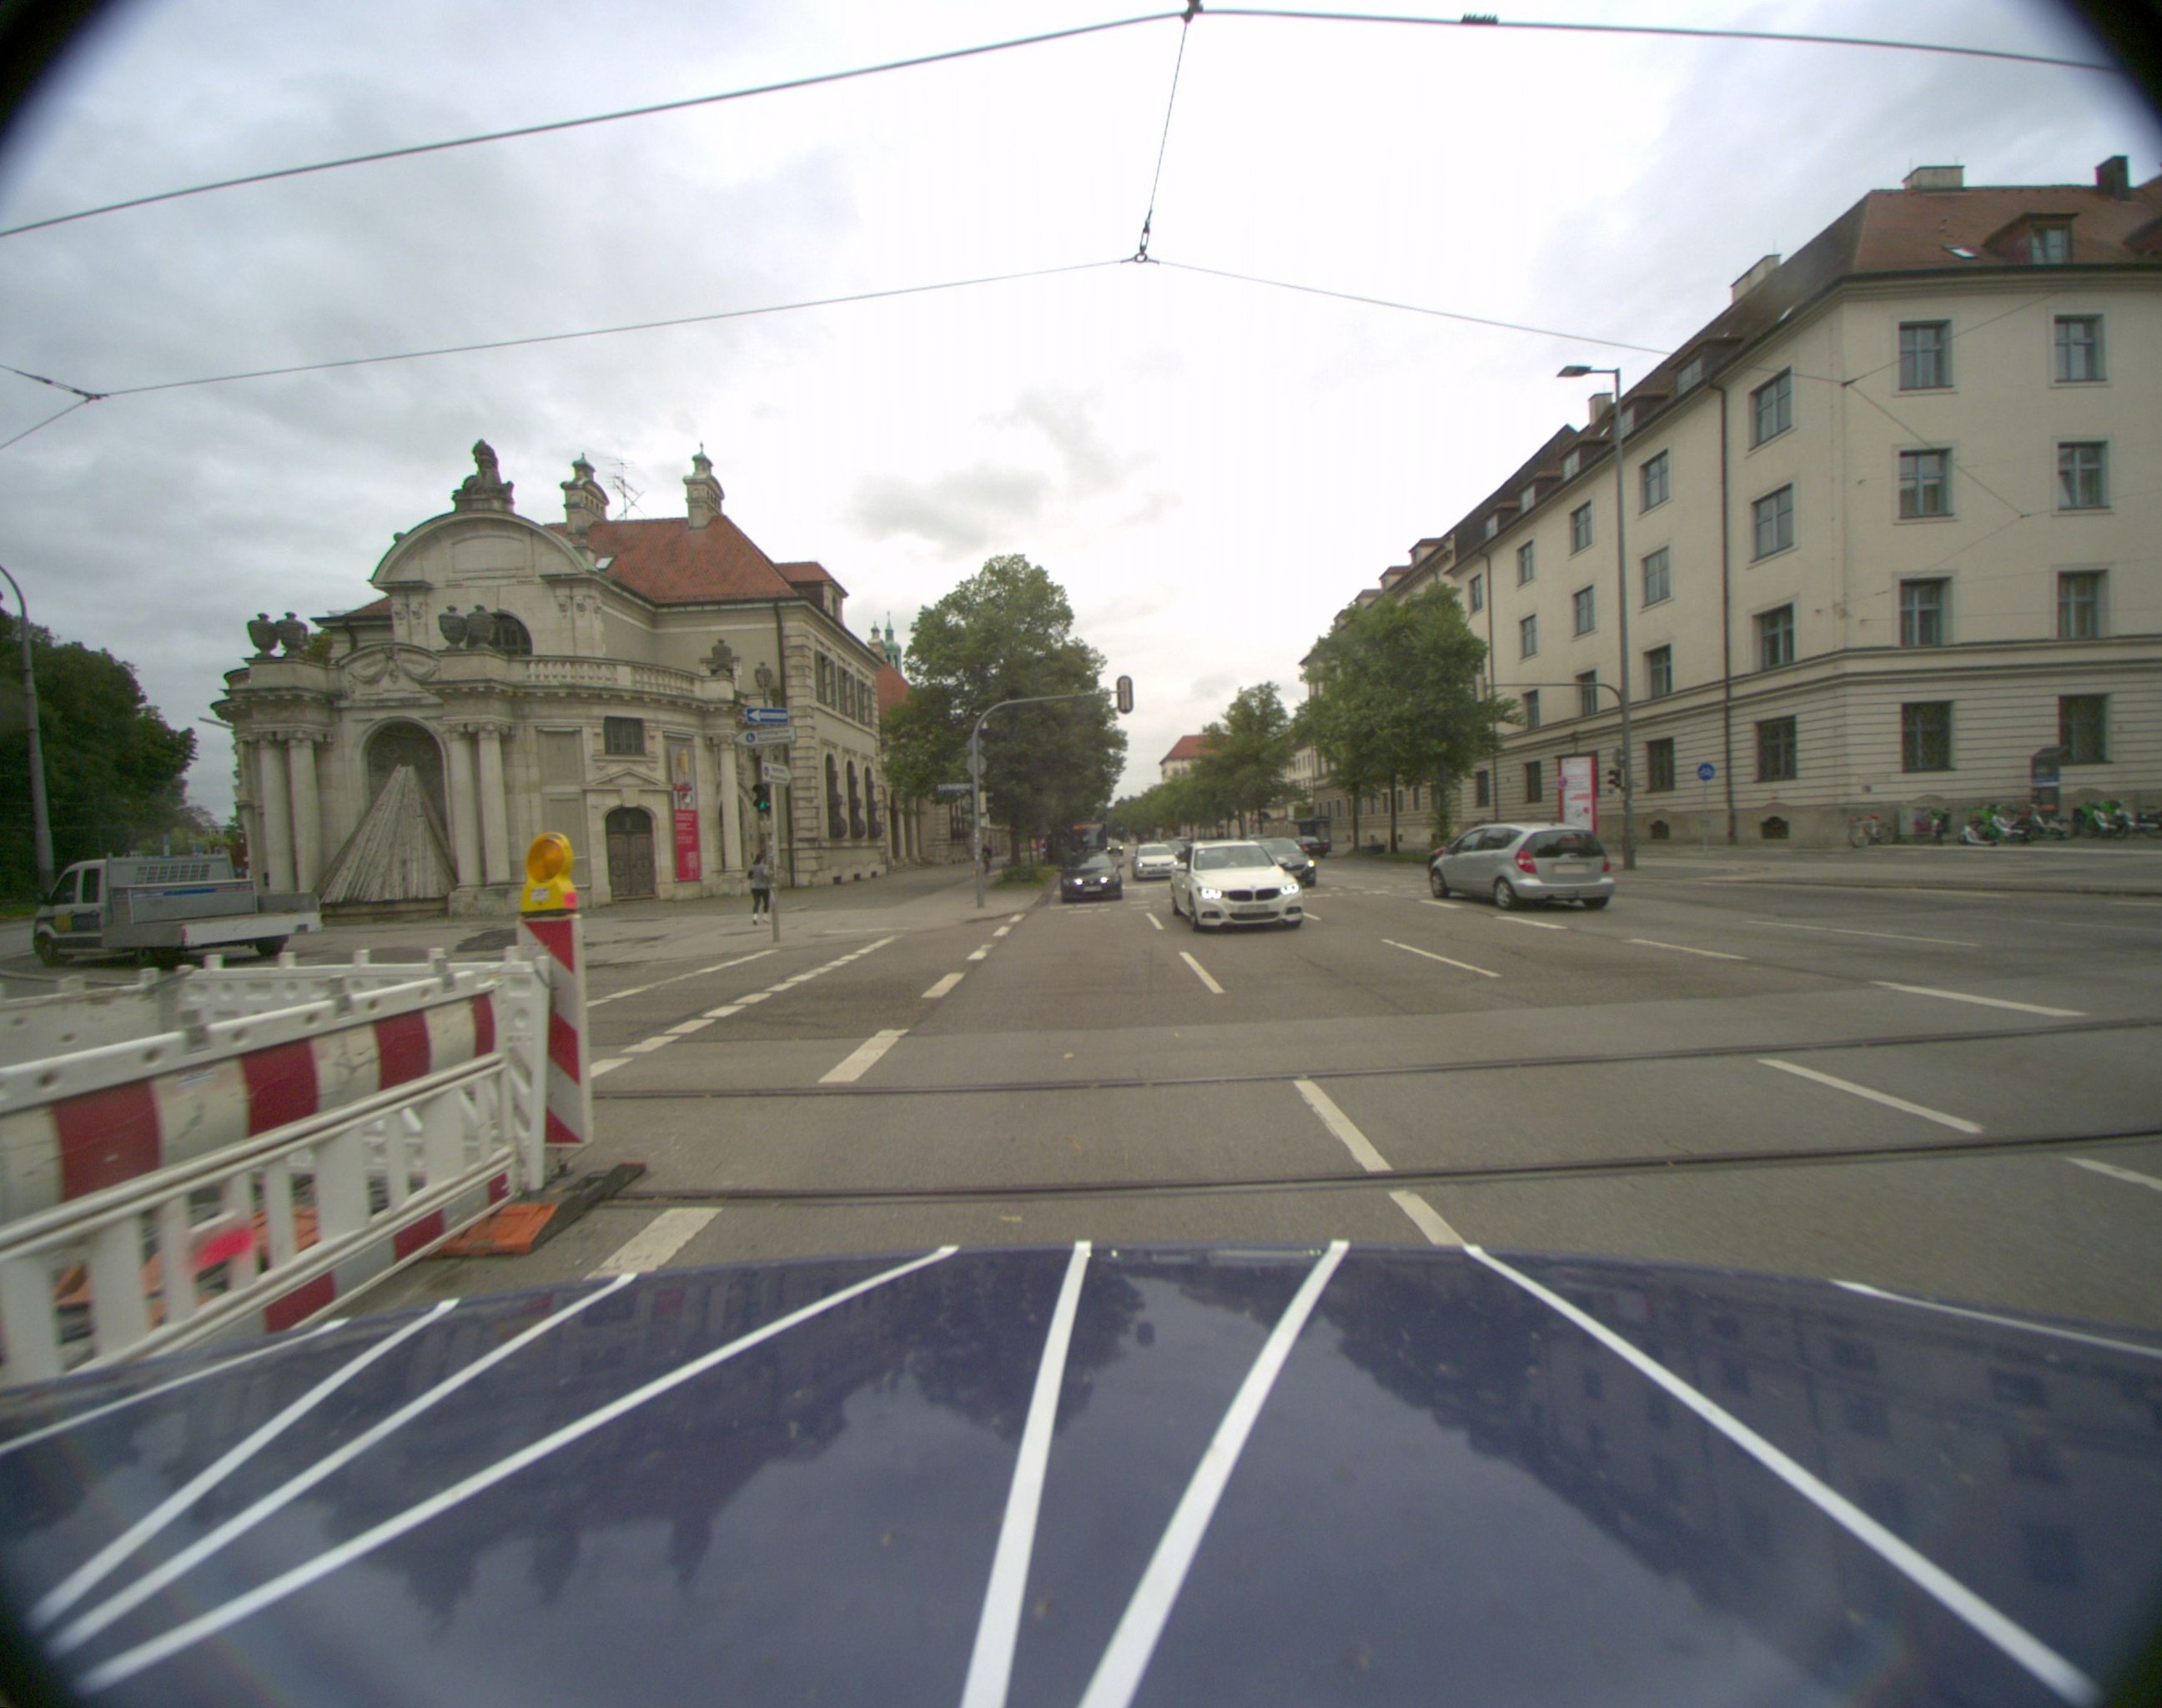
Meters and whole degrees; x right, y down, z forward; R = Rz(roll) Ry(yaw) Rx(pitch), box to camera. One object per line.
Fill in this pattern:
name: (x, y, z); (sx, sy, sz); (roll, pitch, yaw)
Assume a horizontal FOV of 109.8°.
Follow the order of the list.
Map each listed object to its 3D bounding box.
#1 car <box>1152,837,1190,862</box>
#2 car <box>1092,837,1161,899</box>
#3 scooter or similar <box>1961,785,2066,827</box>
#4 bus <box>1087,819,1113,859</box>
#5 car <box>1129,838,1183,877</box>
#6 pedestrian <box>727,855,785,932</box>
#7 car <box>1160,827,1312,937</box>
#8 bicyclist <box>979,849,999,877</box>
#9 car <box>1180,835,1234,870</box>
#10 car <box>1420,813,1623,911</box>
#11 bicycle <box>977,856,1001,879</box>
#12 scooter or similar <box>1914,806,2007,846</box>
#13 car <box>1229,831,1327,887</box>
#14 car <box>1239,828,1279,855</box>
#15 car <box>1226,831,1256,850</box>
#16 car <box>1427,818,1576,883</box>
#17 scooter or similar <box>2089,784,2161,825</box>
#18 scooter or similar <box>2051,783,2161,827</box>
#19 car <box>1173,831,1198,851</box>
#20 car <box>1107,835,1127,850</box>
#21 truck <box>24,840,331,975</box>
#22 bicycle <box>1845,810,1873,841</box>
car: (5.547, -0.320, 47.415); (1.797, 1.439, 4.274); (-3, 1, 0)
car: (1.293, 0.351, 23.258); (1.797, 1.627, 4.274); (-3, 1, 0)
scooter or similar: (27.496, -1.385, 22.450); (0.690, 1.112, 1.947); (-4, 1, 1)
bus: (1.309, -1.026, 53.459); (1.638, 2.570, 6.701); (-3, 1, 1)
car: (3.062, 0.101, 31.865); (1.797, 1.439, 4.274); (-3, 1, 0)
pedestrian: (-7.970, 0.942, 18.673); (1.068, 1.754, 0.773); (-5, 2, -15)
car: (2.680, 0.370, 14.330); (1.797, 1.627, 5.025); (-3, 1, 0)
bicyclist: (-4.627, 0.454, 38.360); (0.808, 1.305, 0.893); (-4, 1, 1)
car: (5.865, -0.116, 35.895); (1.797, 1.439, 4.274); (-3, 1, 0)
car: (8.228, 0.111, 14.645); (1.638, 1.562, 3.945); (-3, 1, 1)
bicycle: (-4.642, 0.661, 38.464); (0.830, 1.001, 2.057); (-4, 1, 1)
scooter or similar: (26.645, -0.836, 23.070); (0.690, 1.112, 1.948); (-4, 1, 7)
car: (5.756, 0.076, 22.764); (1.797, 1.439, 4.274); (-3, 1, 0)
car: (11.715, -0.823, 50.213); (1.683, 1.630, 4.164); (-3, 1, 1)
car: (14.264, -1.230, 67.944); (1.727, 1.577, 4.444); (-3, 1, 0)
car: (11.309, -0.136, 20.819); (1.757, 1.521, 4.226); (-3, 1, 1)
scooter or similar: (30.646, -1.426, 22.120); (0.546, 1.112, 1.547); (-4, 1, 1)
scooter or similar: (29.857, -1.411, 22.154); (0.690, 1.151, 1.901); (-4, 1, 1)
car: (9.134, -1.137, 66.499); (1.726, 1.577, 4.373); (-3, 1, 3)
car: (3.733, -1.244, 78.481); (1.797, 1.439, 4.274); (-3, 1, 0)
truck: (-19.742, 1.168, 16.611); (5.924, 2.480, 2.297); (-4, 1, 20)
bicycle: (24.951, -0.914, 24.379); (0.405, 0.942, 1.280); (-3, 2, 38)
